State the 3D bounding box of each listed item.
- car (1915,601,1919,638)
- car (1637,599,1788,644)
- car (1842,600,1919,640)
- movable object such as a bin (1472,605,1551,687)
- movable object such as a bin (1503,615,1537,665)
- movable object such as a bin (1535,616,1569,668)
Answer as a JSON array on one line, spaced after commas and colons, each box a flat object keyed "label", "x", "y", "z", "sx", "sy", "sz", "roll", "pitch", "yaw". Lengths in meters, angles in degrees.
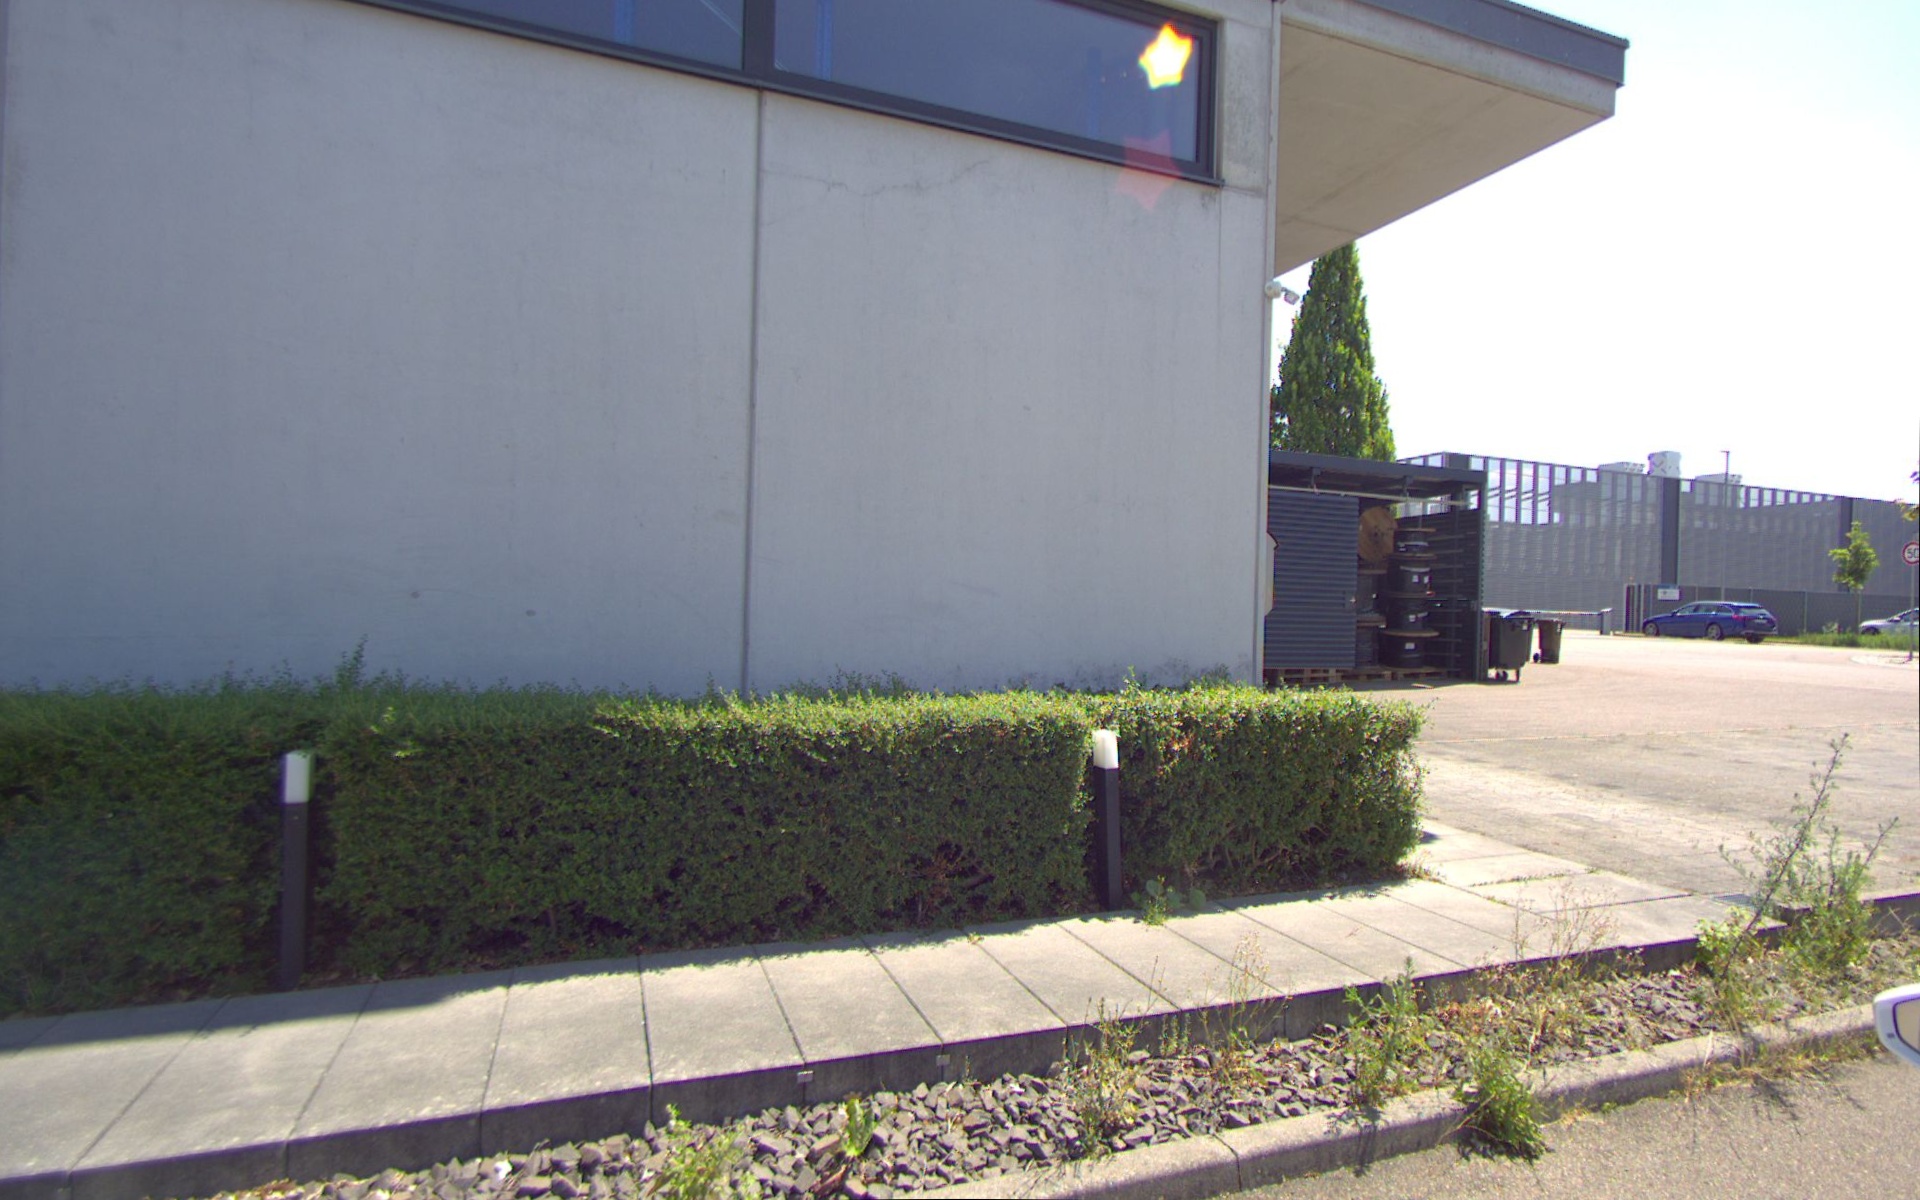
[{"label": "car", "x": 40.704, "y": 0.831, "z": 39.180, "sx": 1.963, "sy": 1.512, "sz": 4.849, "roll": 0, "pitch": 1, "yaw": -7}, {"label": "car", "x": 28.081, "y": 0.758, "z": 37.674, "sx": 1.963, "sy": 1.512, "sz": 4.509, "roll": 0, "pitch": 1, "yaw": -7}, {"label": "car", "x": 37.683, "y": 0.789, "z": 39.190, "sx": 1.963, "sy": 1.512, "sz": 4.849, "roll": 0, "pitch": 1, "yaw": -7}, {"label": "movable object such as a bin", "x": 9.472, "y": 0.774, "z": 17.274, "sx": 0.869, "sy": 1.362, "sz": 0.811, "roll": 1, "pitch": 0, "yaw": -15}, {"label": "movable object such as a bin", "x": 11.953, "y": 0.849, "z": 21.441, "sx": 0.572, "sy": 1.041, "sz": 0.424, "roll": 1, "pitch": 0, "yaw": 36}, {"label": "movable object such as a bin", "x": 12.421, "y": 0.874, "z": 21.086, "sx": 0.569, "sy": 1.050, "sz": 0.424, "roll": 1, "pitch": 0, "yaw": 36}]
